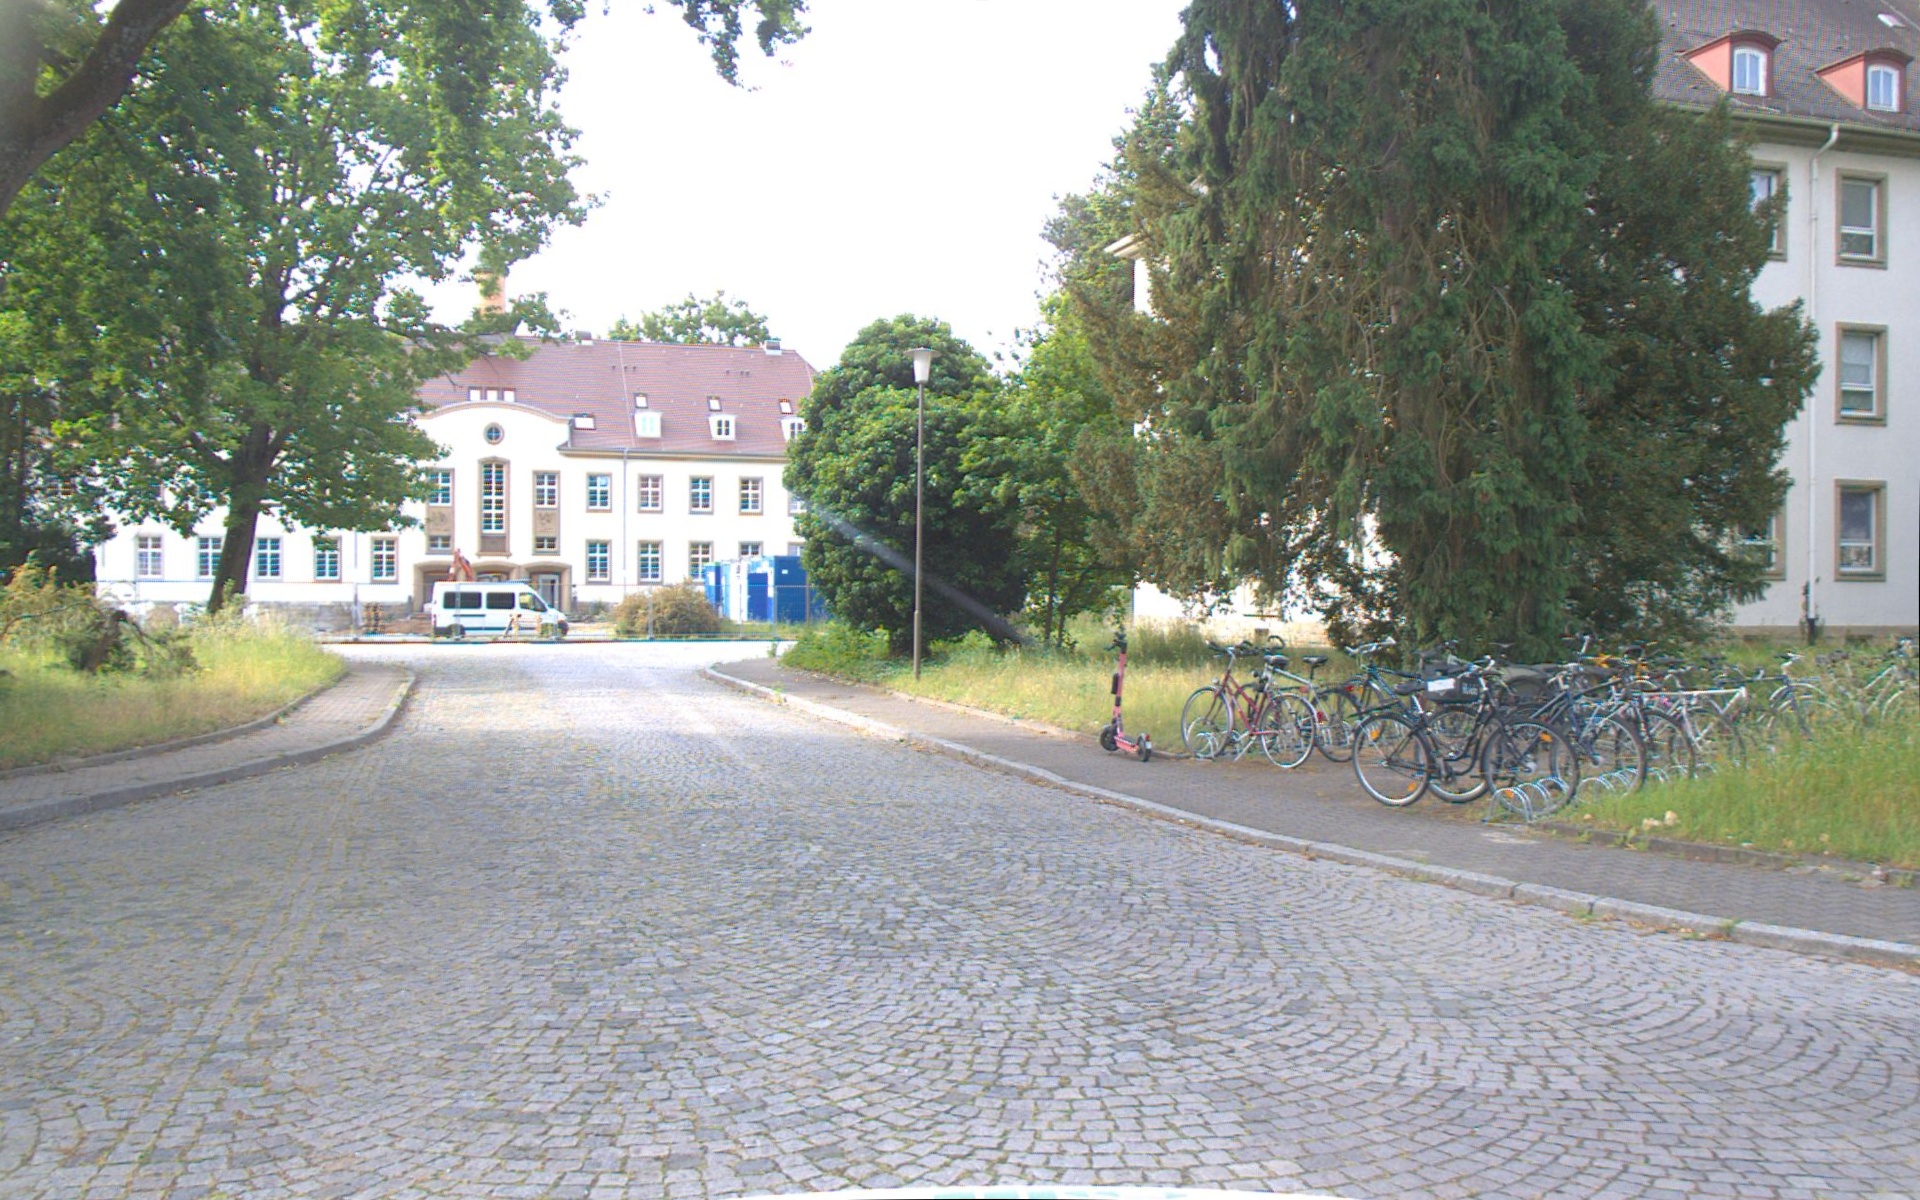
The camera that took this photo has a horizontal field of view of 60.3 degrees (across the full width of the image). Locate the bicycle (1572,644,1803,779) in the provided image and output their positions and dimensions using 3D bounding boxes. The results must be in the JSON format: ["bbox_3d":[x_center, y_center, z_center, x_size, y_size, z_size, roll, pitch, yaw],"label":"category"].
[{"bbox_3d":[6.092,0.903,13.930,0.625,1.019,1.675,-3,1,-36],"label":"bicycle"}]

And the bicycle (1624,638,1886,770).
[{"bbox_3d":[6.827,0.861,14.299,0.679,1.022,1.935,-3,1,-36],"label":"bicycle"}]

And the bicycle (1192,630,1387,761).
[{"bbox_3d":[3.201,0.900,16.267,0.636,1.133,1.966,-3,2,-36],"label":"bicycle"}]

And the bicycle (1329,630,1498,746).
[{"bbox_3d":[4.654,0.882,17.030,1.601,1.092,0.536,0,2,44],"label":"bicycle"}]

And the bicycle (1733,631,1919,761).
[{"bbox_3d":[8.191,0.863,15.389,0.536,1.124,1.754,-3,1,-36],"label":"bicycle"}]

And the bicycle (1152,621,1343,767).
[{"bbox_3d":[2.716,0.857,15.807,0.636,1.244,1.877,-3,2,-36],"label":"bicycle"}]

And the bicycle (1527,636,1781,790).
[{"bbox_3d":[5.583,0.874,13.401,0.695,1.122,1.776,-3,1,-36],"label":"bicycle"}]

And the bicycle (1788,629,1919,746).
[{"bbox_3d":[9.004,0.838,16.102,0.521,1.077,1.601,-3,1,-36],"label":"bicycle"}]

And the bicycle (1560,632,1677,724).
[{"bbox_3d":[7.751,0.905,19.498,0.429,1.047,1.247,3,-3,-35],"label":"bicycle"}]

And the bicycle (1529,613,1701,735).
[{"bbox_3d":[6.977,0.764,17.679,0.569,1.206,1.618,-3,2,-42],"label":"bicycle"}]

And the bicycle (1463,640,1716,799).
[{"bbox_3d":[4.936,0.898,13.067,0.695,1.122,1.751,-3,1,-36],"label":"bicycle"}]

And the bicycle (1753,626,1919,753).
[{"bbox_3d":[8.556,0.830,15.809,0.536,1.136,1.680,-3,1,-36],"label":"bicycle"}]

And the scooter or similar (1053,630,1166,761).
[{"bbox_3d":[1.480,0.928,16.624,0.668,1.216,1.547,-1,0,-13],"label":"scooter or similar"}]

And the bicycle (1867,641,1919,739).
[{"bbox_3d":[9.726,0.876,15.978,0.521,0.927,1.601,-3,1,-36],"label":"bicycle"}]

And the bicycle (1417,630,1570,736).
[{"bbox_3d":[5.777,0.880,17.949,1.490,1.053,0.542,0,2,44],"label":"bicycle"}]

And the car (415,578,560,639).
[{"bbox_3d":[-18.741,0.342,65.697,5.427,2.245,2.117,1,3,-18],"label":"car"}]
